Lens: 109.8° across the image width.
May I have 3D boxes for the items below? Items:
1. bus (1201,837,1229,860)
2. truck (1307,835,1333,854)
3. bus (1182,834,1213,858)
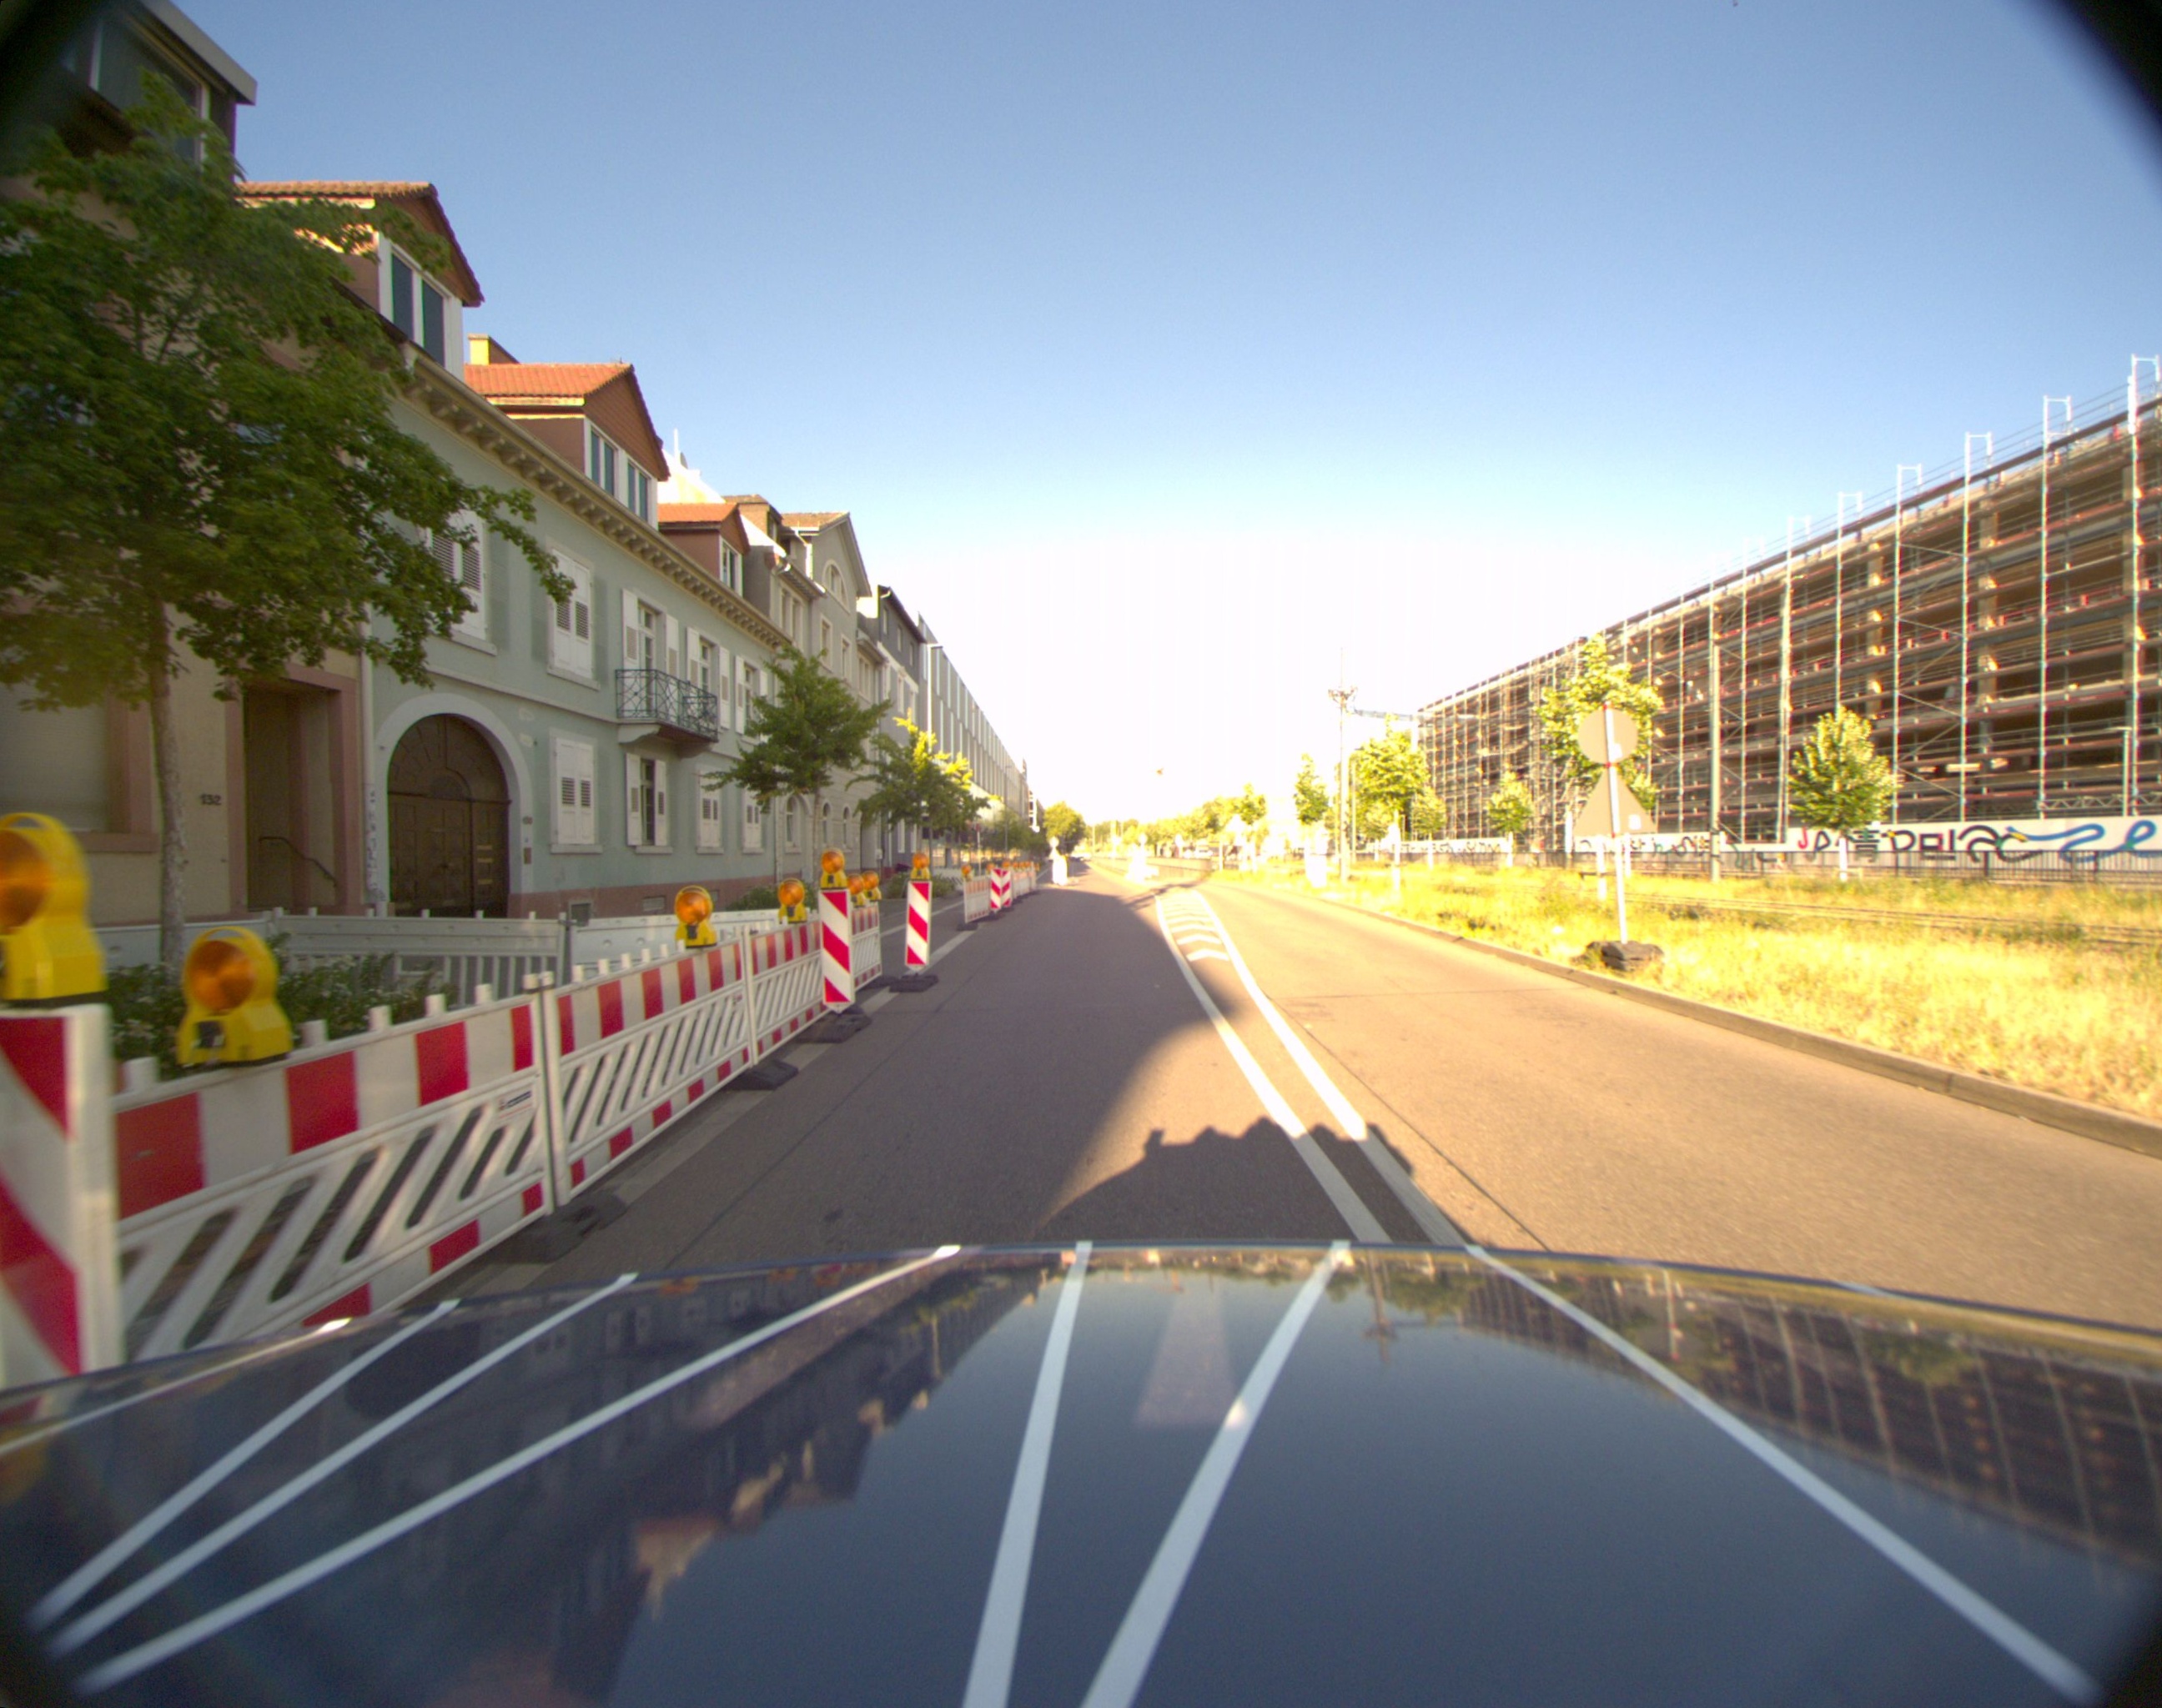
[{"bbox_3d":[19.312,-0.783,110.256,2.724,3.203,8.656,0,0,1],"label":"bus"},{"bbox_3d":[32.302,-1.284,102.994,2.143,2.559,4.740,0,0,1],"label":"truck"},{"bbox_3d":[15.831,-1.052,103.719,2.724,3.203,8.654,0,0,-1],"label":"bus"}]
